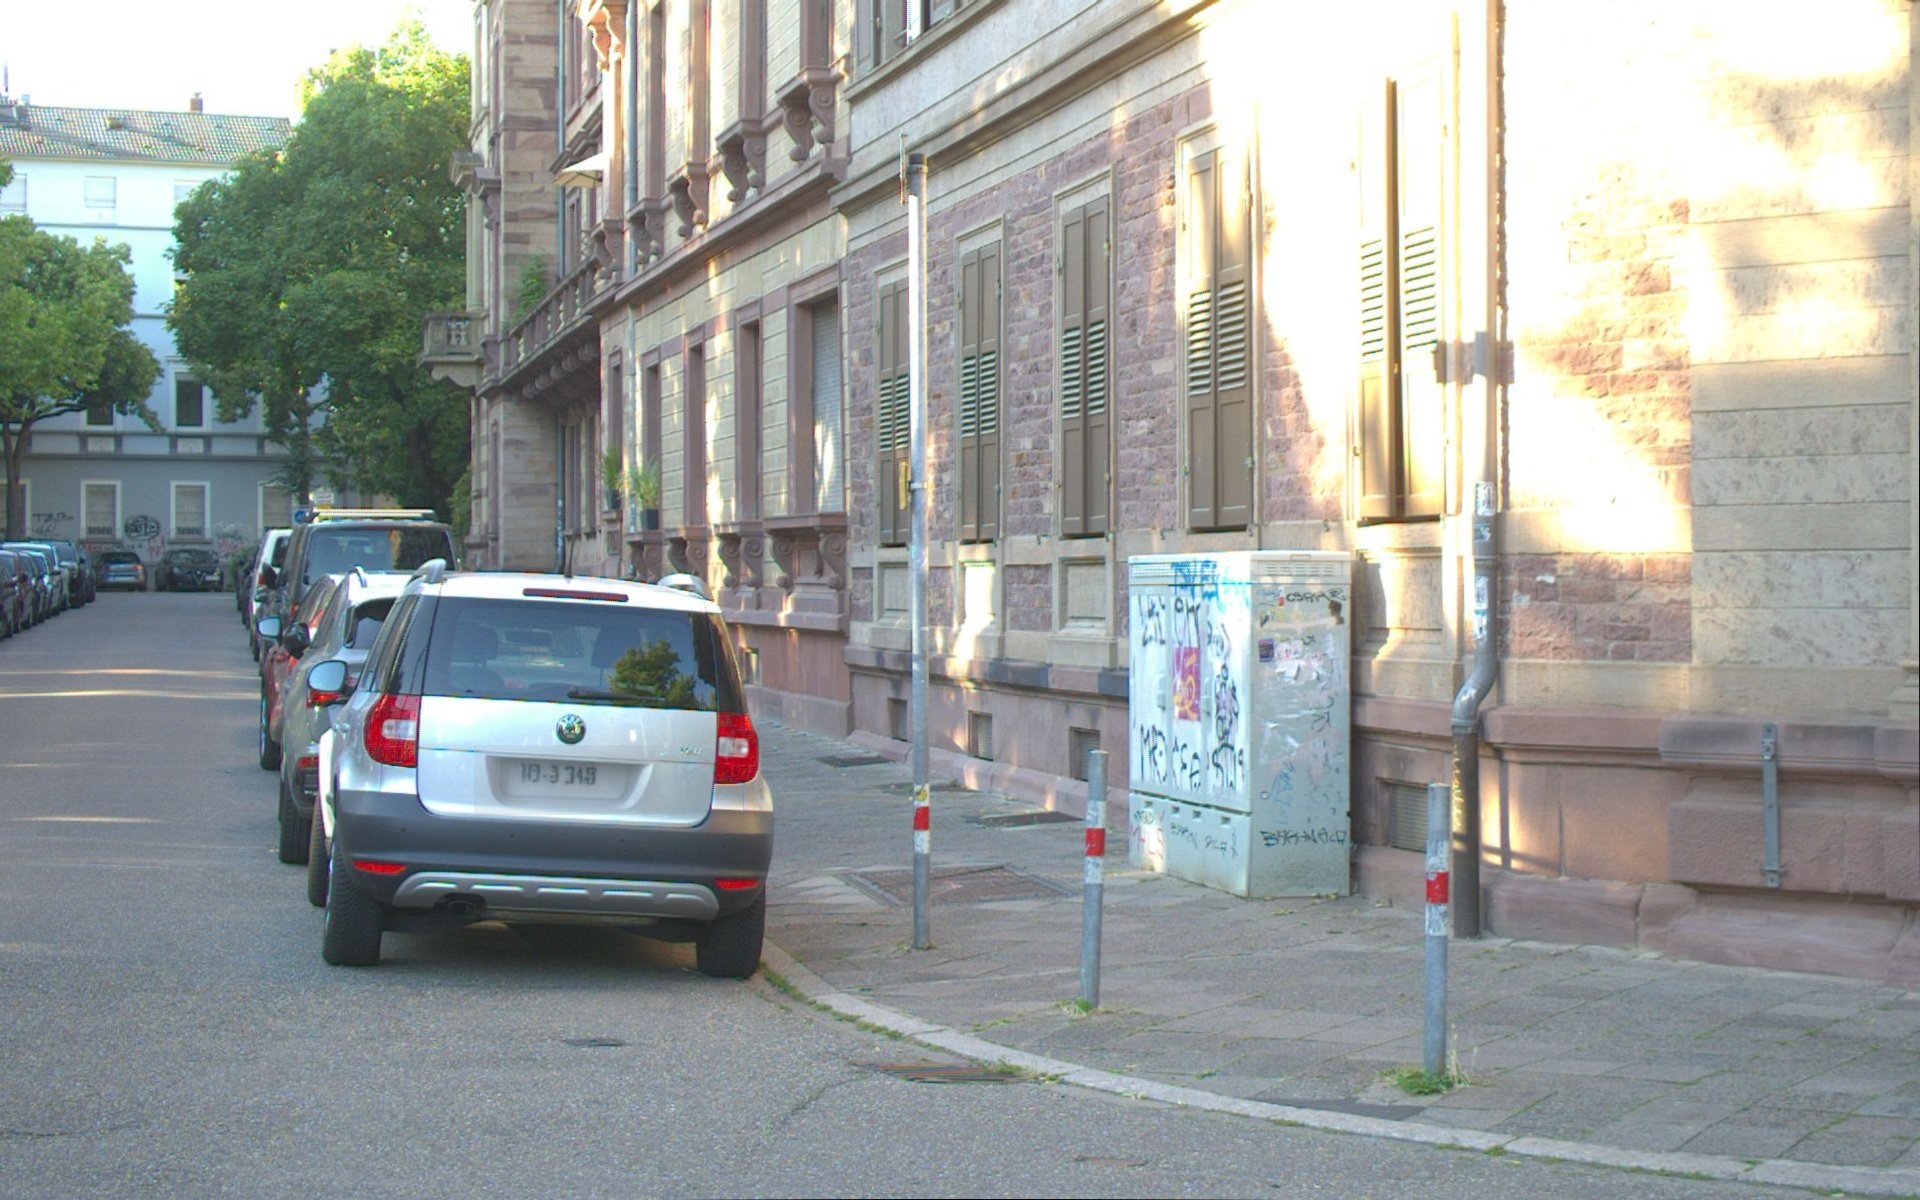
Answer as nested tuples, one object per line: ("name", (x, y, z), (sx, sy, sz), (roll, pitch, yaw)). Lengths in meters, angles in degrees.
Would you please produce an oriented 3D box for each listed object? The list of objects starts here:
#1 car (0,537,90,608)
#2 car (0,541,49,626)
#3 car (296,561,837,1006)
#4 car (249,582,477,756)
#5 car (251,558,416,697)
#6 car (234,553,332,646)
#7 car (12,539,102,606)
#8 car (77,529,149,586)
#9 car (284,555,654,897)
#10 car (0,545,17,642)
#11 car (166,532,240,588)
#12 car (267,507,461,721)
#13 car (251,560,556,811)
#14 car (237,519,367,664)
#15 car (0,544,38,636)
("car", (-21.054, -0.650, 78.890), (1.825, 1.495, 3.932), (3, 0, -11))
("car", (-18.018, -0.361, 63.853), (1.825, 1.495, 3.932), (3, 0, -11))
("car", (-1.909, 0.713, 15.422), (1.915, 1.651, 4.188), (3, 0, -12))
("car", (-5.359, 0.568, 30.514), (1.797, 1.341, 3.956), (3, 0, -12))
("car", (-7.644, 0.300, 41.696), (1.797, 1.518, 3.956), (3, 0, -12))
("car", (-13.627, -0.030, 69.111), (1.797, 1.722, 3.956), (3, 0, -12))
("car", (-22.005, -0.690, 83.904), (1.825, 1.495, 3.932), (3, 0, -11))
("car", (-27.448, -1.352, 111.317), (1.993, 1.678, 4.001), (1, -1, -17))
("car", (-3.018, 0.643, 20.359), (1.825, 1.718, 4.545), (3, 0, -11))
("car", (-15.753, -0.151, 53.336), (1.825, 1.495, 3.932), (3, 0, -11))
("car", (-24.824, -1.289, 112.629), (1.993, 1.678, 4.001), (1, -1, -17))
("car", (-6.354, 0.121, 36.386), (1.797, 2.065, 3.956), (3, 0, -12))
("car", (-4.147, 0.563, 25.166), (1.797, 1.608, 3.956), (3, 0, -14))
("car", (-10.134, -0.151, 52.799), (1.797, 2.065, 3.956), (3, 0, -12))
("car", (-16.840, -0.228, 58.652), (1.825, 1.495, 3.932), (3, 0, -11))
